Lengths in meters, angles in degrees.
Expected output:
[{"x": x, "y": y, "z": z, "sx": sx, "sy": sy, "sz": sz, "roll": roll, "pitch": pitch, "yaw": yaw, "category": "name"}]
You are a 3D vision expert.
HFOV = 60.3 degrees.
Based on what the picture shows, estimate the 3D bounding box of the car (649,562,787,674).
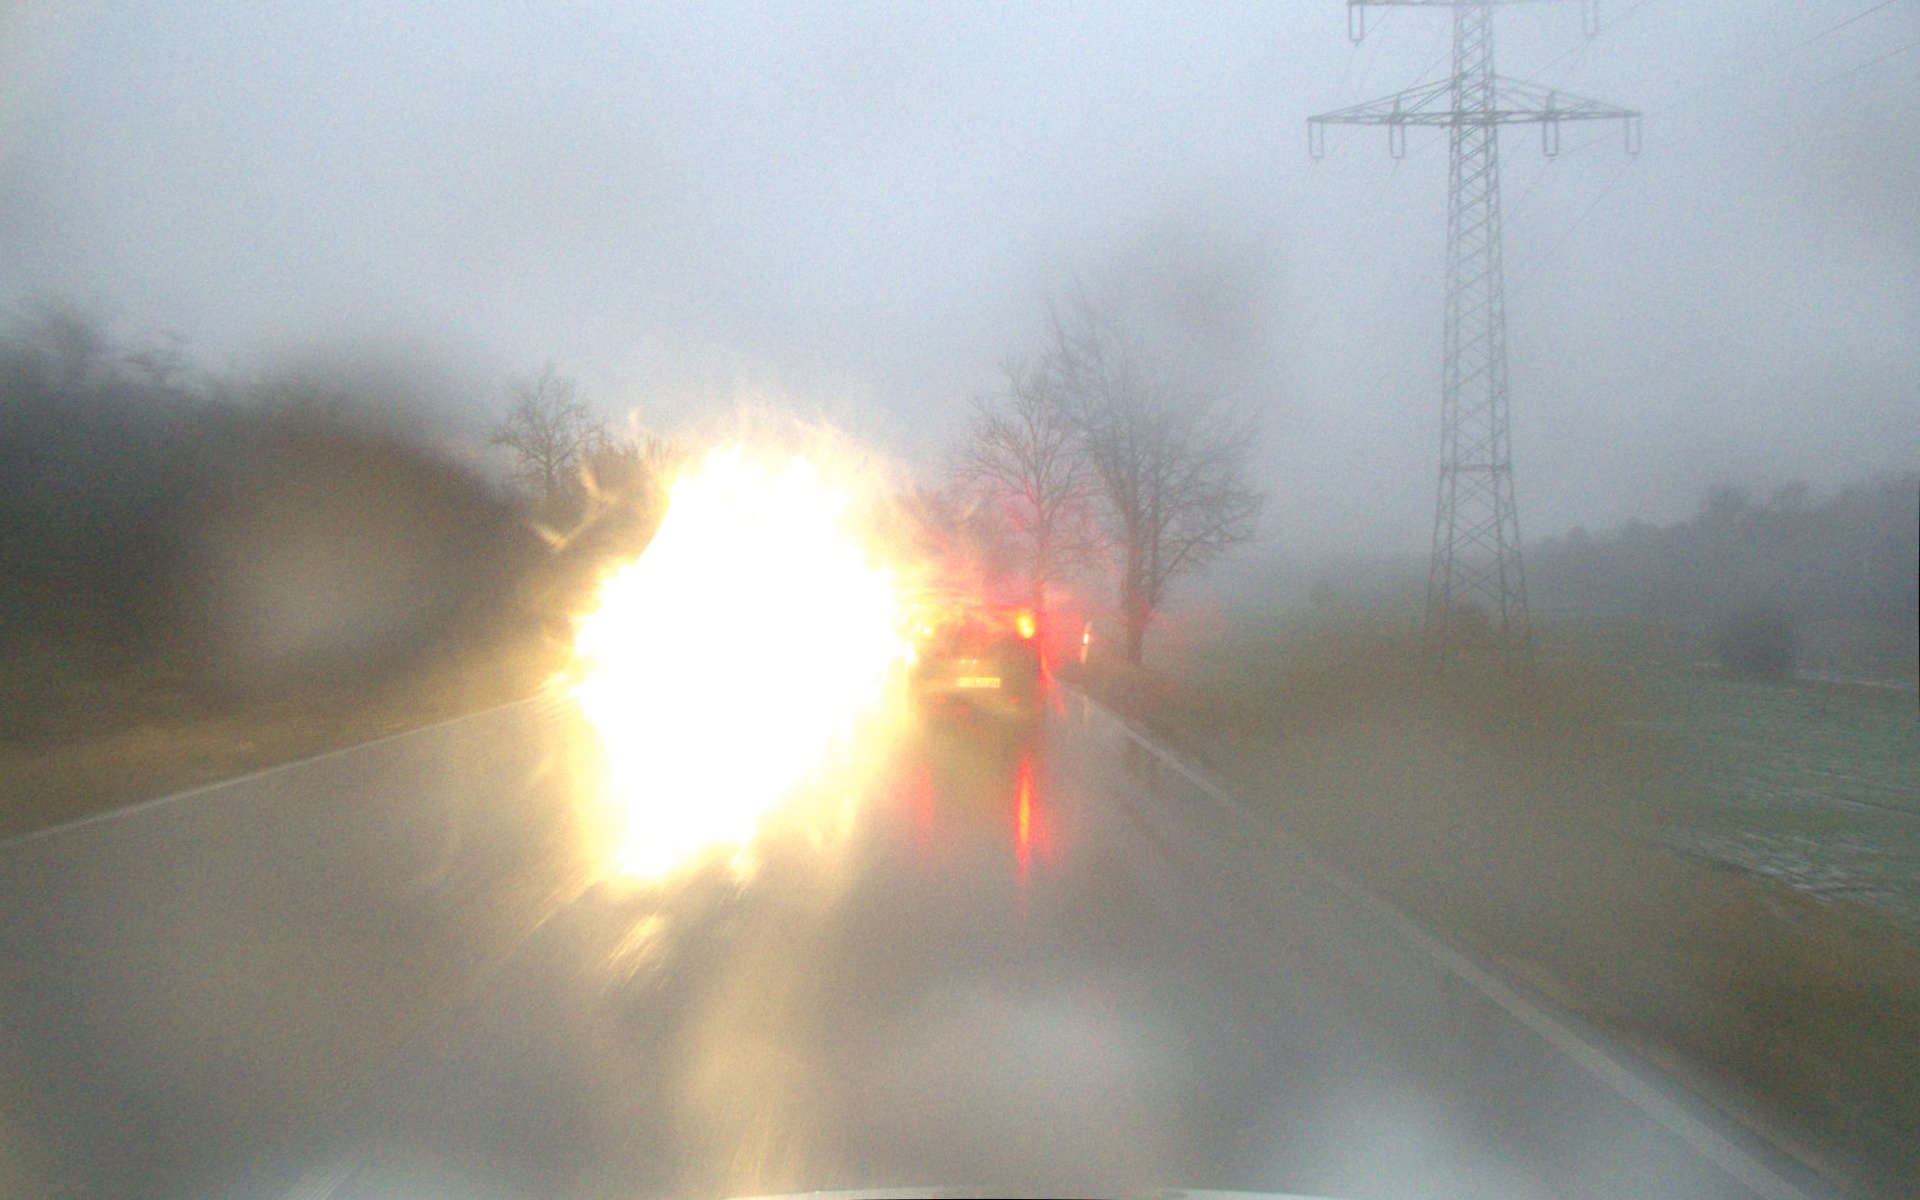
[{"x": -4.079, "y": 0.266, "z": 28.470, "sx": 1.749, "sy": 1.781, "sz": 4.257, "roll": 0, "pitch": 1, "yaw": 0, "category": "car"}]

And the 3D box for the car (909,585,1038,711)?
[{"x": 0.164, "y": 0.549, "z": 20.661, "sx": 1.469, "sy": 1.423, "sz": 3.199, "roll": 1, "pitch": 0, "yaw": 0, "category": "car"}]

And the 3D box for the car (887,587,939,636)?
[{"x": -1.755, "y": 0.409, "z": 61.580, "sx": 1.825, "sy": 1.729, "sz": 4.466, "roll": 1, "pitch": 1, "yaw": -2, "category": "car"}]

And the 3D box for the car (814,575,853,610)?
[{"x": -6.527, "y": -0.402, "z": 85.760, "sx": 1.825, "sy": 1.729, "sz": 4.466, "roll": 1, "pitch": 1, "yaw": -2, "category": "car"}]

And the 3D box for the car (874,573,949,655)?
[{"x": -1.232, "y": 0.343, "z": 43.583, "sx": 1.814, "sy": 2.049, "sz": 4.000, "roll": 1, "pitch": 0, "yaw": 0, "category": "car"}]
